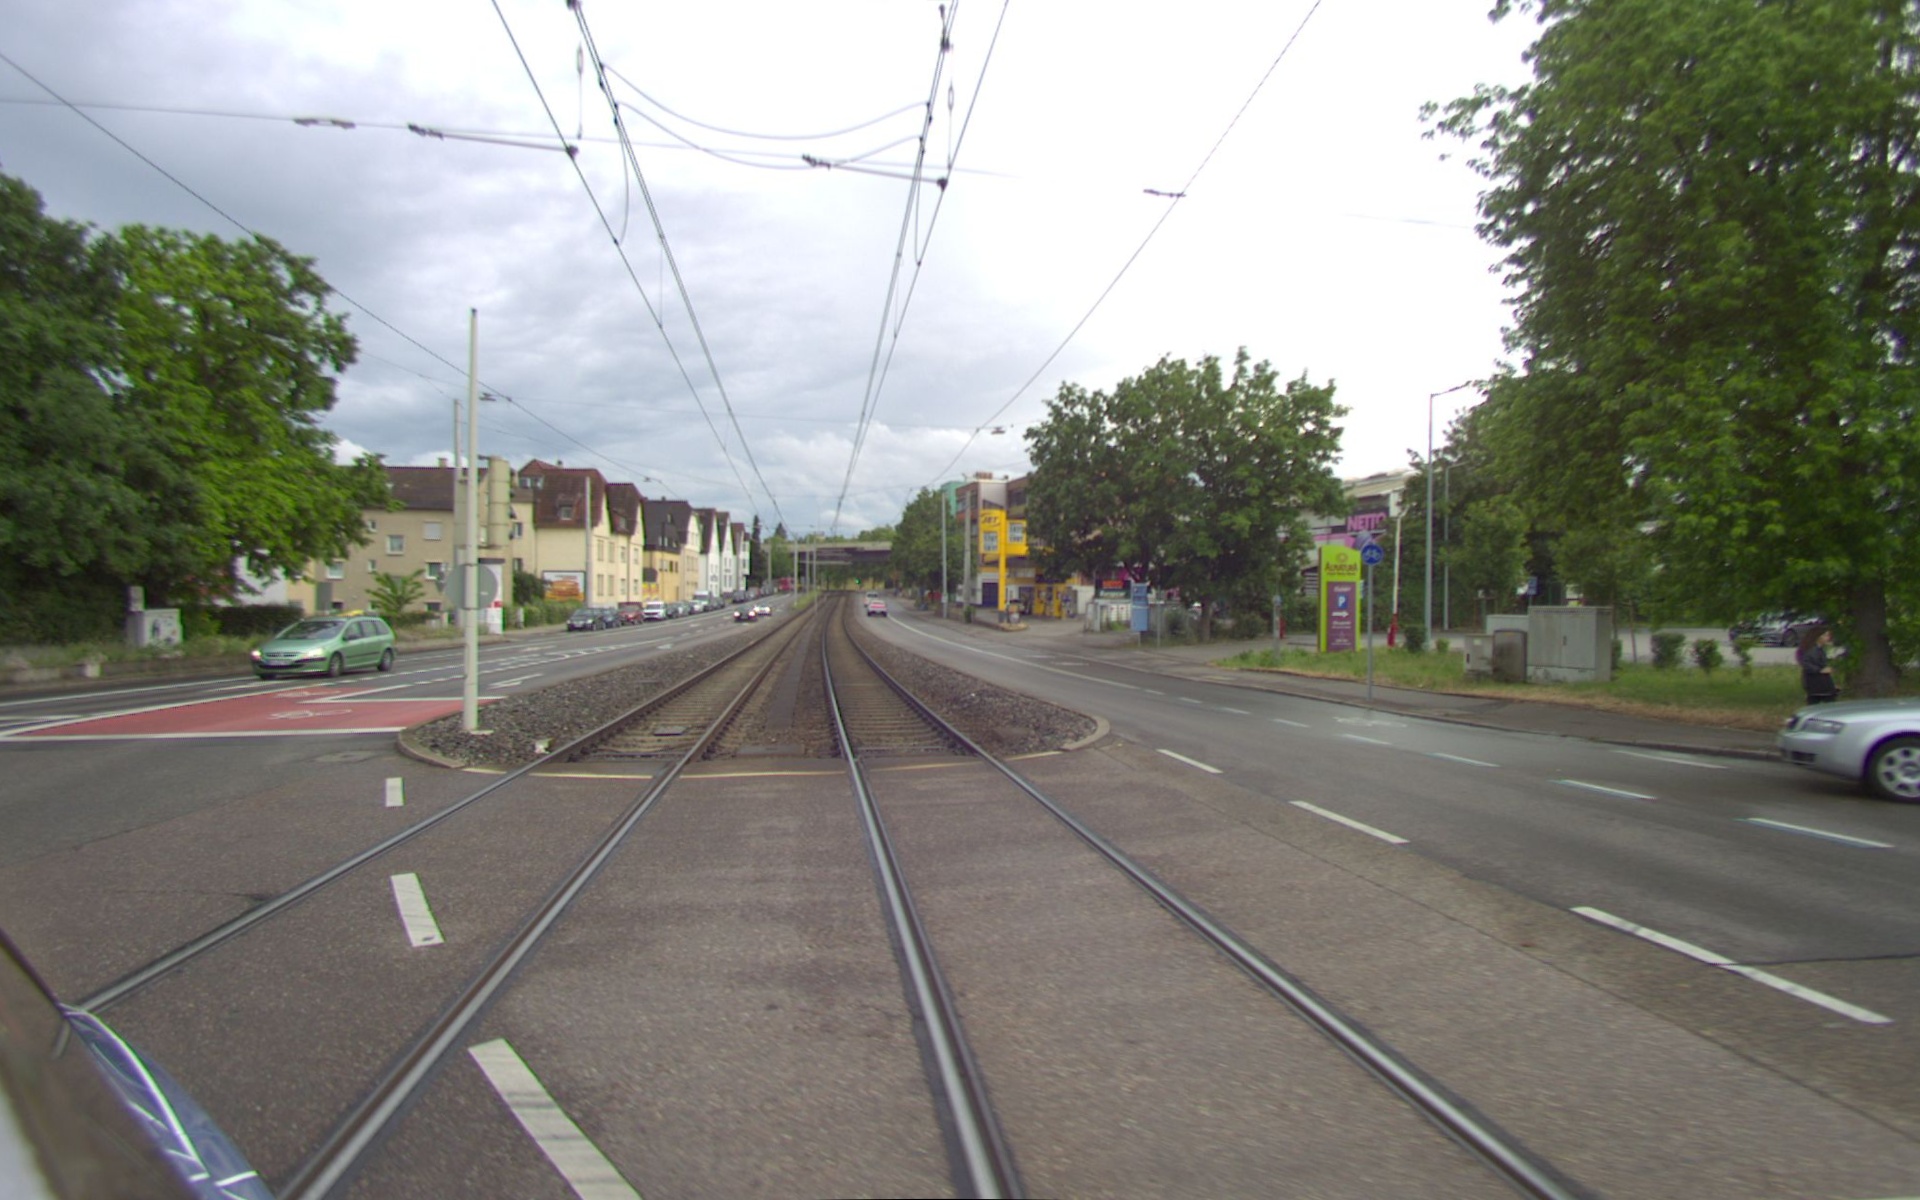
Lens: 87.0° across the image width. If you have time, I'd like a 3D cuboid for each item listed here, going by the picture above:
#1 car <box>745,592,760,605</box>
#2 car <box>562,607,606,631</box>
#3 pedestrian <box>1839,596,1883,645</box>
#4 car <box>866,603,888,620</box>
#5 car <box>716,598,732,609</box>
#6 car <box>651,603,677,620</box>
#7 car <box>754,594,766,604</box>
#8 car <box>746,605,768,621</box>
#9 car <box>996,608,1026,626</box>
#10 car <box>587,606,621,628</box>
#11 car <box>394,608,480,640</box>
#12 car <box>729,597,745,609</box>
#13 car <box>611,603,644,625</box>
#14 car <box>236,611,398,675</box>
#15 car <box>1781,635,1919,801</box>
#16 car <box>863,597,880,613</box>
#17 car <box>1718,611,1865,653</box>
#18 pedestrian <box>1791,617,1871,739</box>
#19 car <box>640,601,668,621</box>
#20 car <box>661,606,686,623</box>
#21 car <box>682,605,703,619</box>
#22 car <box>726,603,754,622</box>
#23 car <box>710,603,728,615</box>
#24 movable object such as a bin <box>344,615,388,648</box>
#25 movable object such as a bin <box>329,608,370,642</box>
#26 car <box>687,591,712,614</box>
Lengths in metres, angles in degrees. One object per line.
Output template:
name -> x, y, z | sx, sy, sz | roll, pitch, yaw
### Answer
car -> -34.385, -0.199, 167.700 | 1.948, 2.010, 4.440 | -1, 1, -5
car -> -25.656, 1.282, 69.150 | 1.814, 1.545, 4.446 | -1, 0, -7
pedestrian -> 30.451, 0.694, 34.219 | 0.791, 1.609, 0.760 | -1, 1, -7
car -> -8.597, 1.177, 104.764 | 1.968, 1.662, 4.768 | 2, -1, -8
car -> -31.084, 0.481, 133.297 | 1.701, 1.355, 4.208 | -1, 1, -7
car -> -28.613, 1.059, 97.882 | 1.666, 1.523, 4.142 | -1, 1, -5
car -> -35.395, -0.198, 179.257 | 1.702, 1.559, 4.205 | -1, 1, -4
car -> -20.255, 1.265, 100.998 | 1.860, 1.435, 4.208 | -1, 1, -7
car -> 4.416, 1.454, 88.647 | 1.747, 1.426, 4.084 | -1, 1, -10
car -> -26.557, 1.250, 75.526 | 1.646, 1.454, 3.936 | -1, 1, -8
car -> -32.057, 1.453, 62.102 | 4.225, 1.667, 1.881 | -3, 2, -3
car -> -33.341, 0.441, 151.179 | 1.702, 1.559, 4.205 | -1, 1, -4
car -> -27.242, 1.147, 82.994 | 1.814, 1.640, 4.106 | -1, 1, -7
car -> -16.112, 1.025, 25.639 | 1.860, 1.460, 4.207 | 0, -1, -7
car -> 10.159, 1.107, 8.873 | 4.414, 1.448, 1.574 | 1, -1, 33
car -> -12.119, 0.717, 138.377 | 1.969, 2.029, 5.068 | 3, -1, -7
car -> 29.262, 1.096, 35.643 | 4.305, 1.355, 1.780 | 0, 0, -14
pedestrian -> 11.693, 1.023, 13.596 | 0.583, 1.543, 0.670 | -2, 1, -31
car -> -28.031, 0.974, 92.886 | 1.824, 1.770, 4.530 | -1, 0, -8
car -> -29.506, 1.449, 104.230 | 1.681, 1.578, 4.288 | -1, 1, -5
car -> -30.115, 1.313, 114.061 | 1.582, 1.475, 4.206 | -1, 1, -5
car -> -18.367, 1.040, 84.675 | 1.860, 1.435, 4.208 | -1, 1, -7
car -> -30.158, 1.155, 126.640 | 1.701, 1.355, 4.092 | -1, 1, -7
movable object such as a bin -> -26.981, 1.425, 45.981 | 1.294, 1.428, 1.303 | -1, 1, -9
movable object such as a bin -> -26.746, 1.081, 44.329 | 1.169, 1.428, 1.137 | -1, 1, -9
car -> -30.770, 0.308, 119.722 | 2.015, 2.517, 5.930 | -1, 1, -6
